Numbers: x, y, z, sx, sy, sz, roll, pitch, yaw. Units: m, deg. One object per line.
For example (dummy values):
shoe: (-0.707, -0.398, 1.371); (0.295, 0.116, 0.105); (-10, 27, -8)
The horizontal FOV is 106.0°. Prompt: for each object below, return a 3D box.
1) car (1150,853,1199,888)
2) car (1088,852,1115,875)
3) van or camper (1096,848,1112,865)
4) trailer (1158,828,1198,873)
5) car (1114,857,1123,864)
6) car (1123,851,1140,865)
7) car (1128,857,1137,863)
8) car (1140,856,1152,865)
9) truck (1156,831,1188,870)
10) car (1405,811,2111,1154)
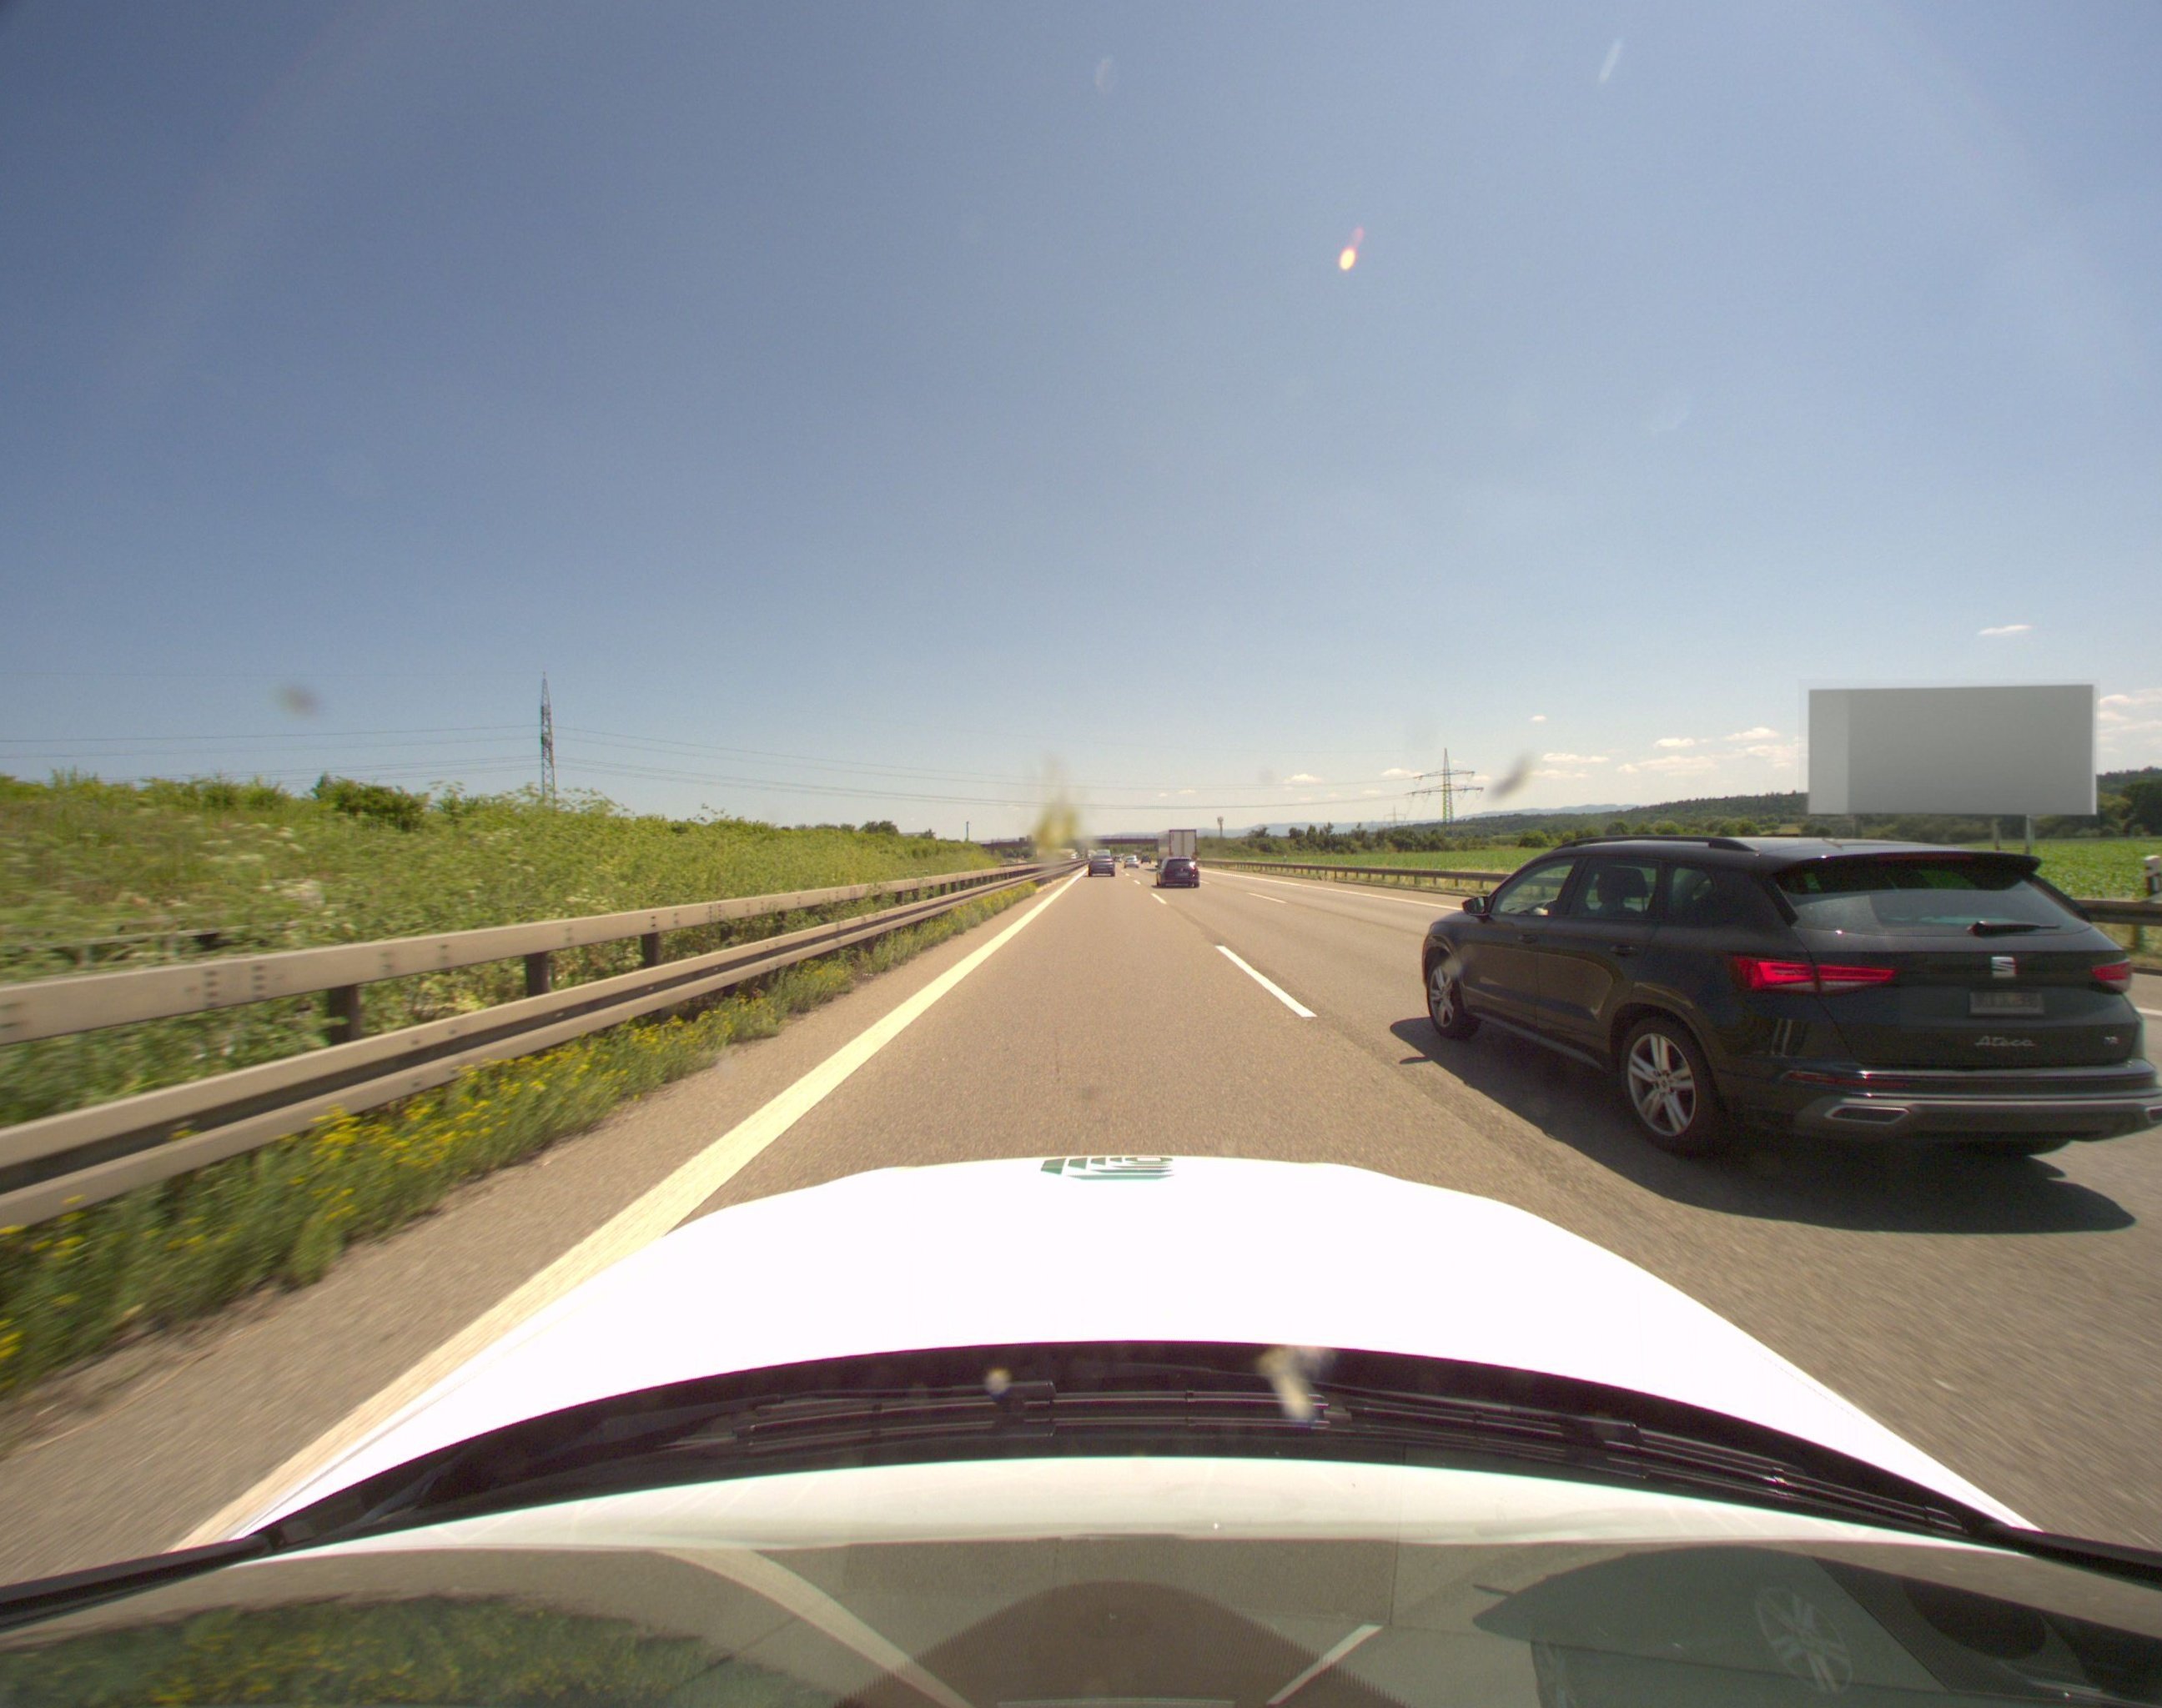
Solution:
car: (4.448, 0.741, 39.309); (1.926, 1.574, 4.935); (0, 0, 1)
car: (1.458, 0.677, 60.557); (1.846, 1.664, 3.733); (0, 0, -1)
van or camper: (3.144, 0.354, 112.093); (2.103, 2.211, 5.267); (0, 0, 2)
trailer: (9.809, -0.328, 83.705); (2.932, 4.198, 13.602); (0, 0, 2)
car: (8.734, 1.455, 189.478); (1.986, 1.683, 4.002); (0, 0, 2)
car: (6.279, 0.511, 101.664); (1.986, 1.683, 4.002); (0, 0, 2)
car: (13.350, 1.503, 211.286); (1.986, 1.683, 4.002); (0, 0, 2)
car: (12.313, 1.217, 154.885); (1.986, 1.683, 4.002); (0, 0, 2)
truck: (10.047, -0.345, 91.027); (2.968, 4.228, 7.690); (0, 0, 2)
car: (3.848, 0.594, 5.634); (1.790, 1.562, 3.825); (0, 0, 2)
